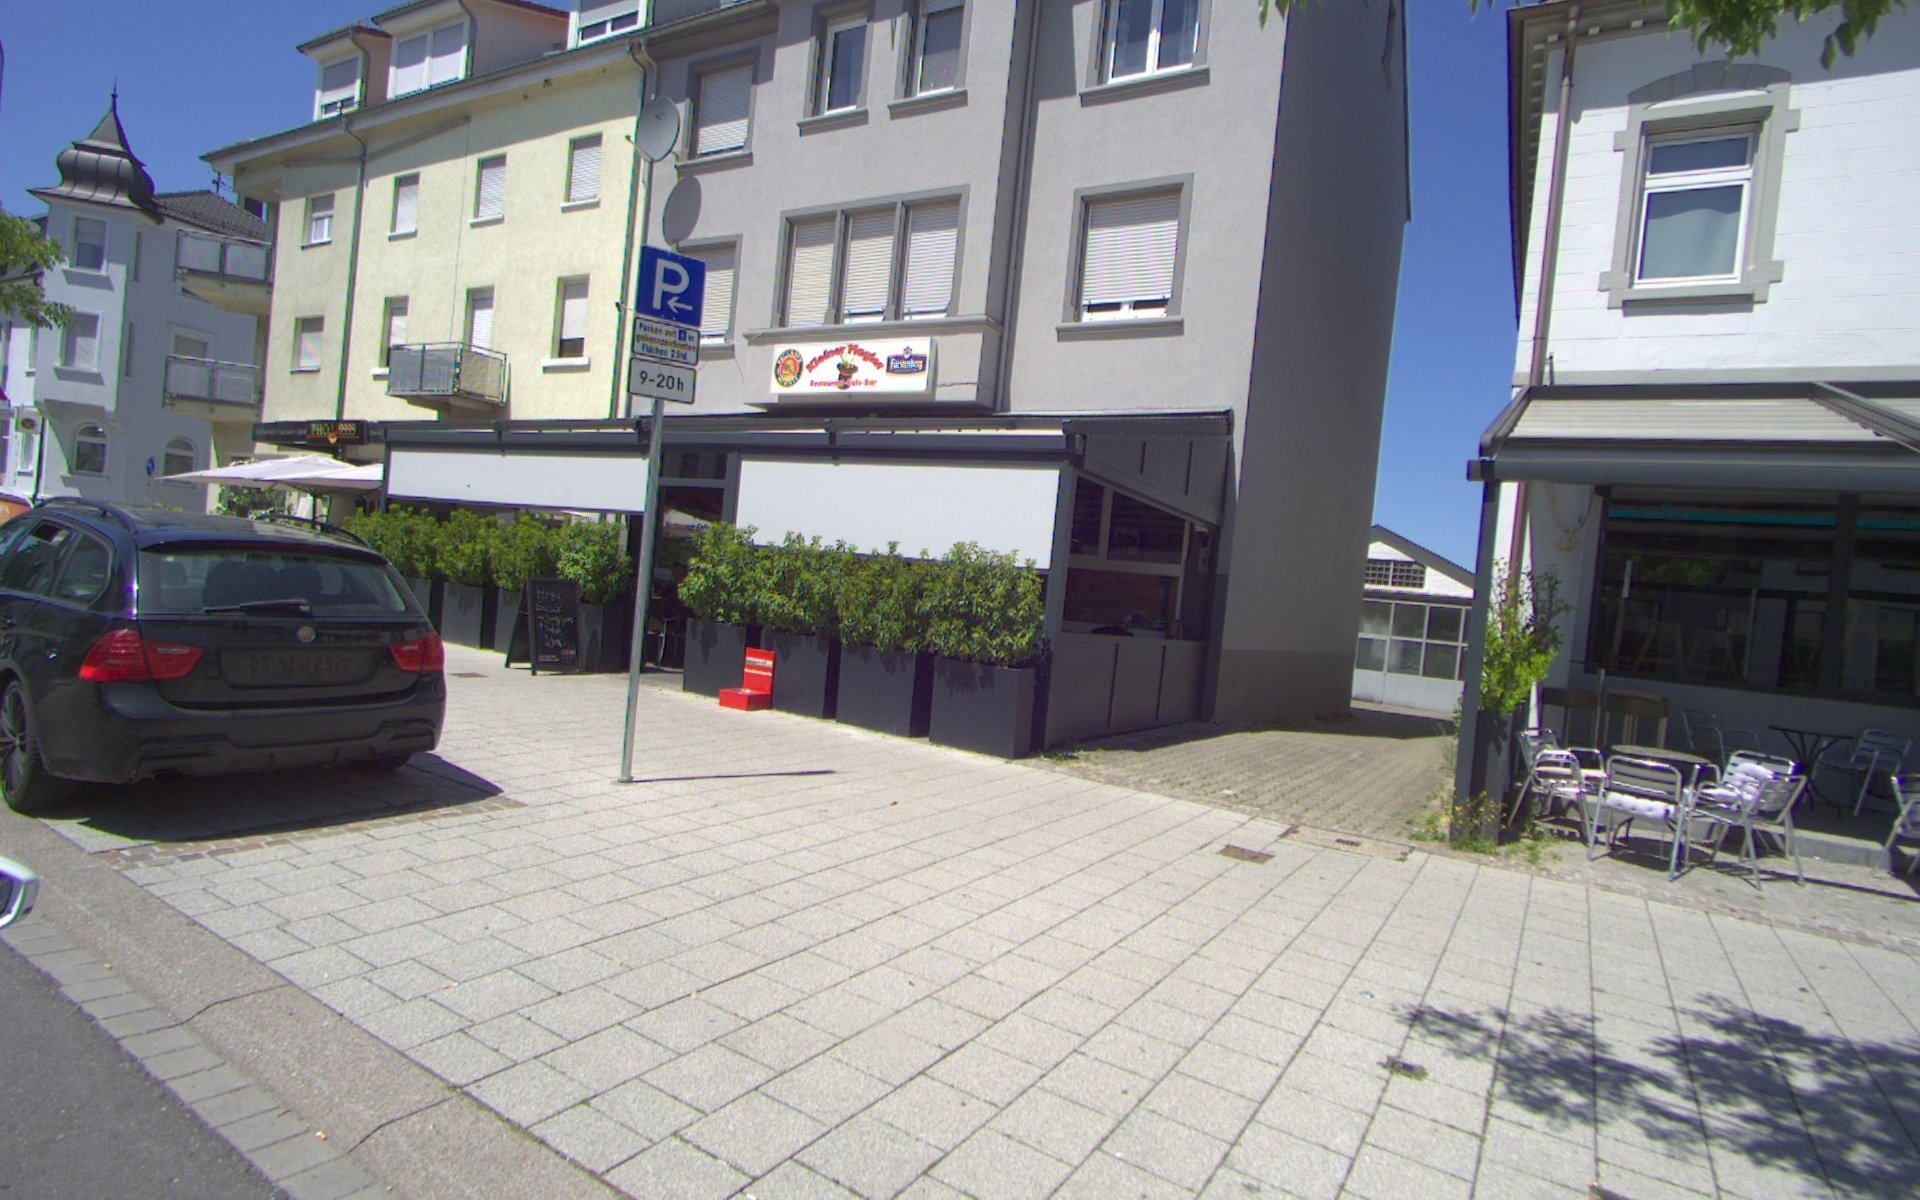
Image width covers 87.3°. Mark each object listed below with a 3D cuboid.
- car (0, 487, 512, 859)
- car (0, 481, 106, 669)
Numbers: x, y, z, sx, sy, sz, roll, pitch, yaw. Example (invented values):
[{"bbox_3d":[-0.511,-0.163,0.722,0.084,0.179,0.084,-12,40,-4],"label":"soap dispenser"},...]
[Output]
[{"bbox_3d":[-4.707,0.186,5.967,4.030,1.502,1.832,5,2,34],"label":"car"},{"bbox_3d":[-9.357,-0.359,9.077,3.994,1.506,1.734,6,2,38],"label":"car"}]
